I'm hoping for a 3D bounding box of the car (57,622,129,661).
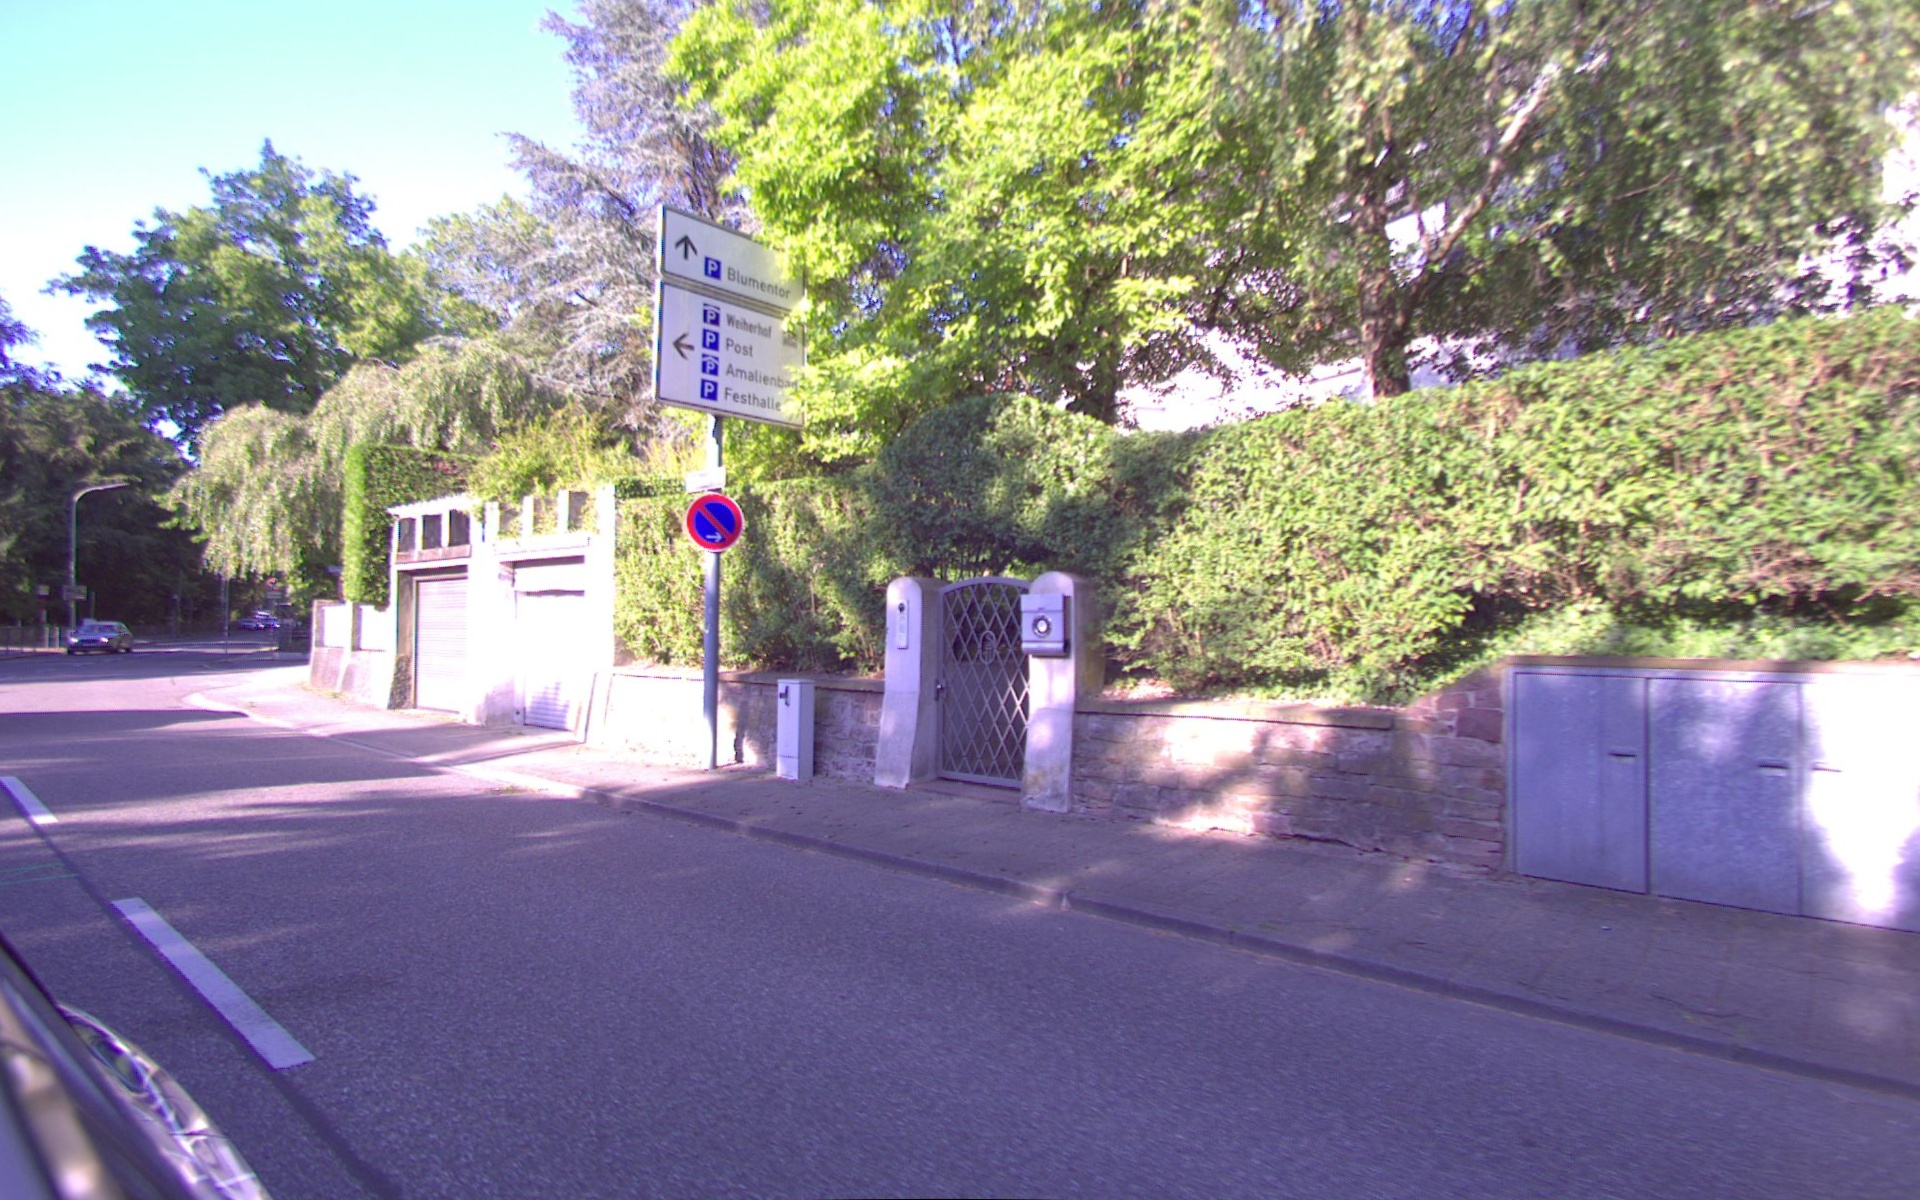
[{"bbox_3d":[-39.391,1.859,46.085,1.966,1.652,4.011,-1,-1,-33],"label":"car"}]

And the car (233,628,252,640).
[{"bbox_3d":[-90.117,4.234,127.176,1.795,1.393,3.945,5,-4,-35],"label":"car"}]

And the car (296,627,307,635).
[{"bbox_3d":[-139.730,6.565,214.639,1.795,1.393,3.945,5,-4,-35],"label":"car"}]

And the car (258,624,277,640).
[{"bbox_3d":[-91.239,4.183,133.425,1.966,2.029,4.011,1,-2,-34],"label":"car"}]
